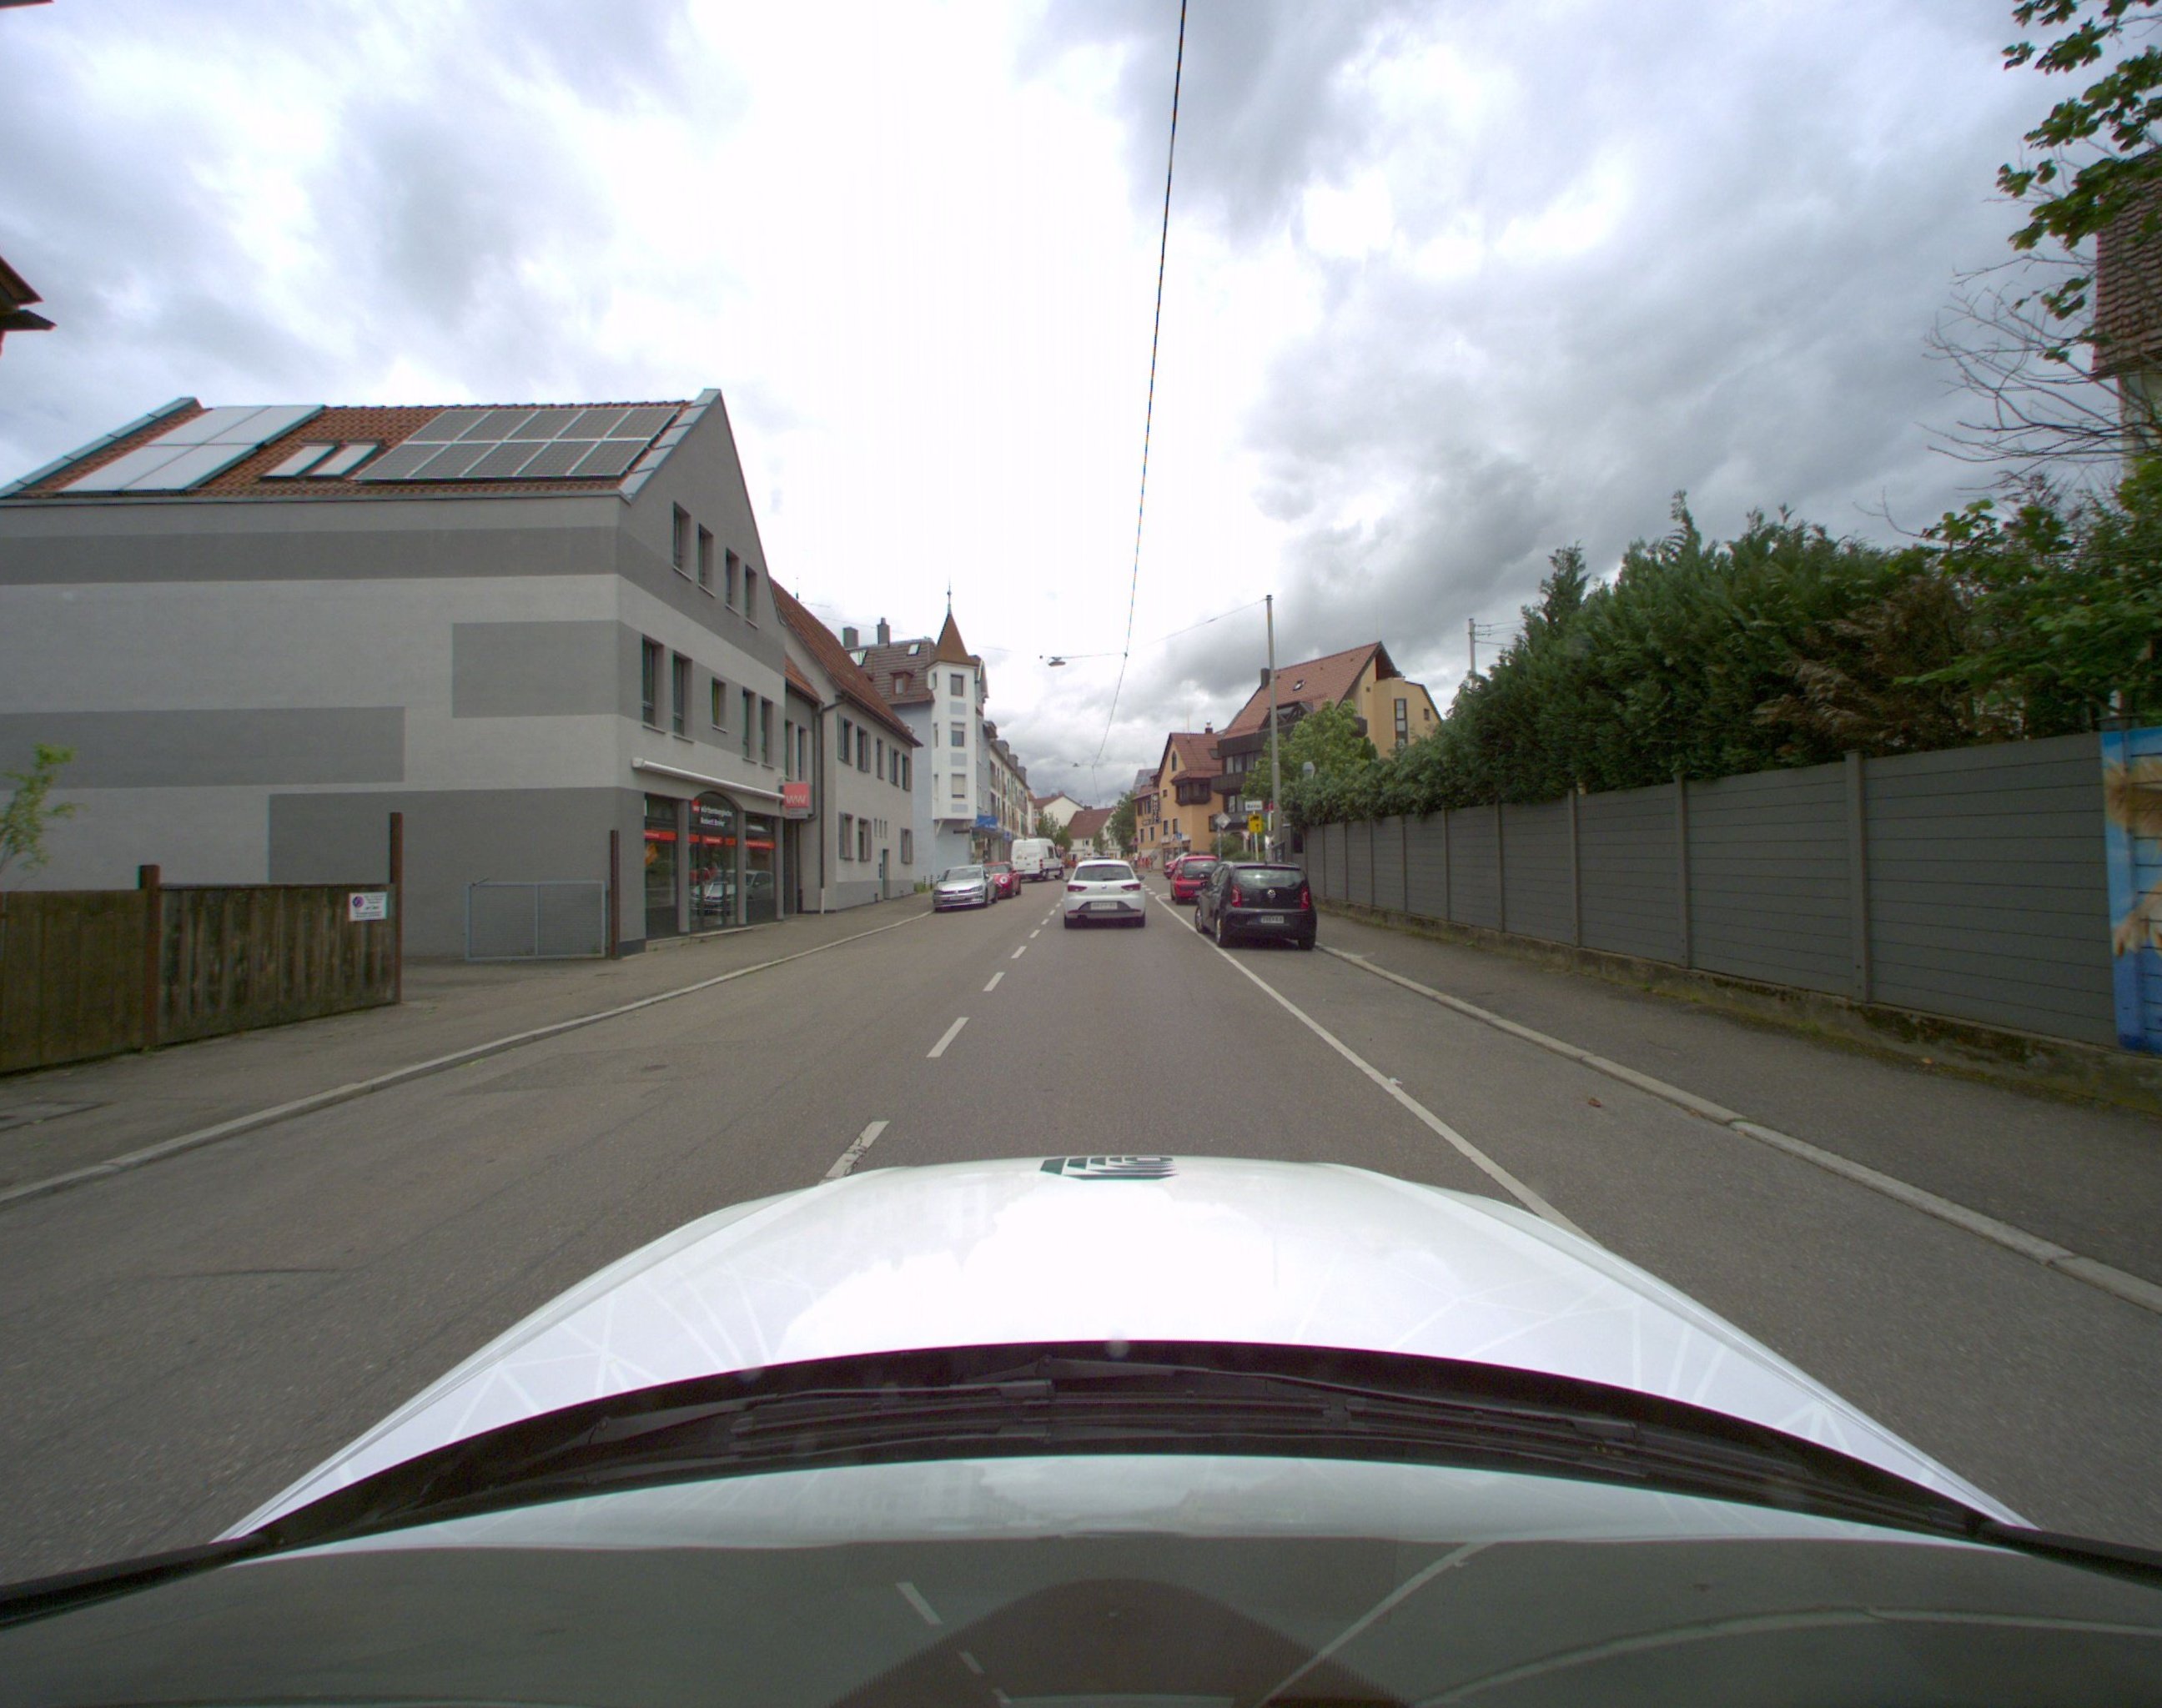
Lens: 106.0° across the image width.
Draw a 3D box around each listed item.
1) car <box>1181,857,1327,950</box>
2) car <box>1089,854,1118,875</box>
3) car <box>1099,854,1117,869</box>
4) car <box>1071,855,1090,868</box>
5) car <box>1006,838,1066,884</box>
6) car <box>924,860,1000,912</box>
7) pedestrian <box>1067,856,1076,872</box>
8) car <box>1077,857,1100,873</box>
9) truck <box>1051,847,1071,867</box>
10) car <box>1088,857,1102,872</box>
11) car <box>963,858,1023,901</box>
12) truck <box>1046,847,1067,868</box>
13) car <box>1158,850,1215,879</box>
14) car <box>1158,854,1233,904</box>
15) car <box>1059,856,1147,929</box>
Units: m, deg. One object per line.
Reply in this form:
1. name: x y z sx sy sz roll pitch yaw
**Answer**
1. car: 3.037 0.805 15.128 1.753 1.452 3.998 -2 0 -1
2. car: 1.619 0.784 59.864 1.755 1.452 3.995 -2 0 -3
3. car: 2.849 0.784 86.164 1.755 1.497 3.790 -1 0 2
4. car: -0.074 1.052 115.109 1.782 1.701 4.013 -1 0 12
5. car: -2.725 0.413 50.583 2.137 2.687 5.566 0 0 14
6. car: -3.921 1.015 27.558 1.793 1.479 4.052 -4 0 1
7. pedestrian: -1.276 1.324 109.188 1.223 2.013 1.176 -1 0 2
8. car: 0.690 1.023 76.104 1.756 1.452 3.992 -1 0 -5
9. truck: -2.574 0.334 104.796 2.144 2.459 5.398 0 0 2
10. car: 1.854 1.339 107.084 1.787 1.830 4.002 -1 0 2
11. car: -3.523 0.987 33.162 1.793 1.479 4.052 -4 0 1
12. truck: -2.901 0.397 98.886 2.144 2.459 5.398 0 0 2
13. car: 5.914 0.565 45.728 2.808 1.512 1.703 0 1 -10
14. car: 3.580 0.754 26.100 1.753 1.452 3.998 -2 0 -1
15. car: 0.519 0.795 18.628 1.752 1.452 4.002 -2 0 2
